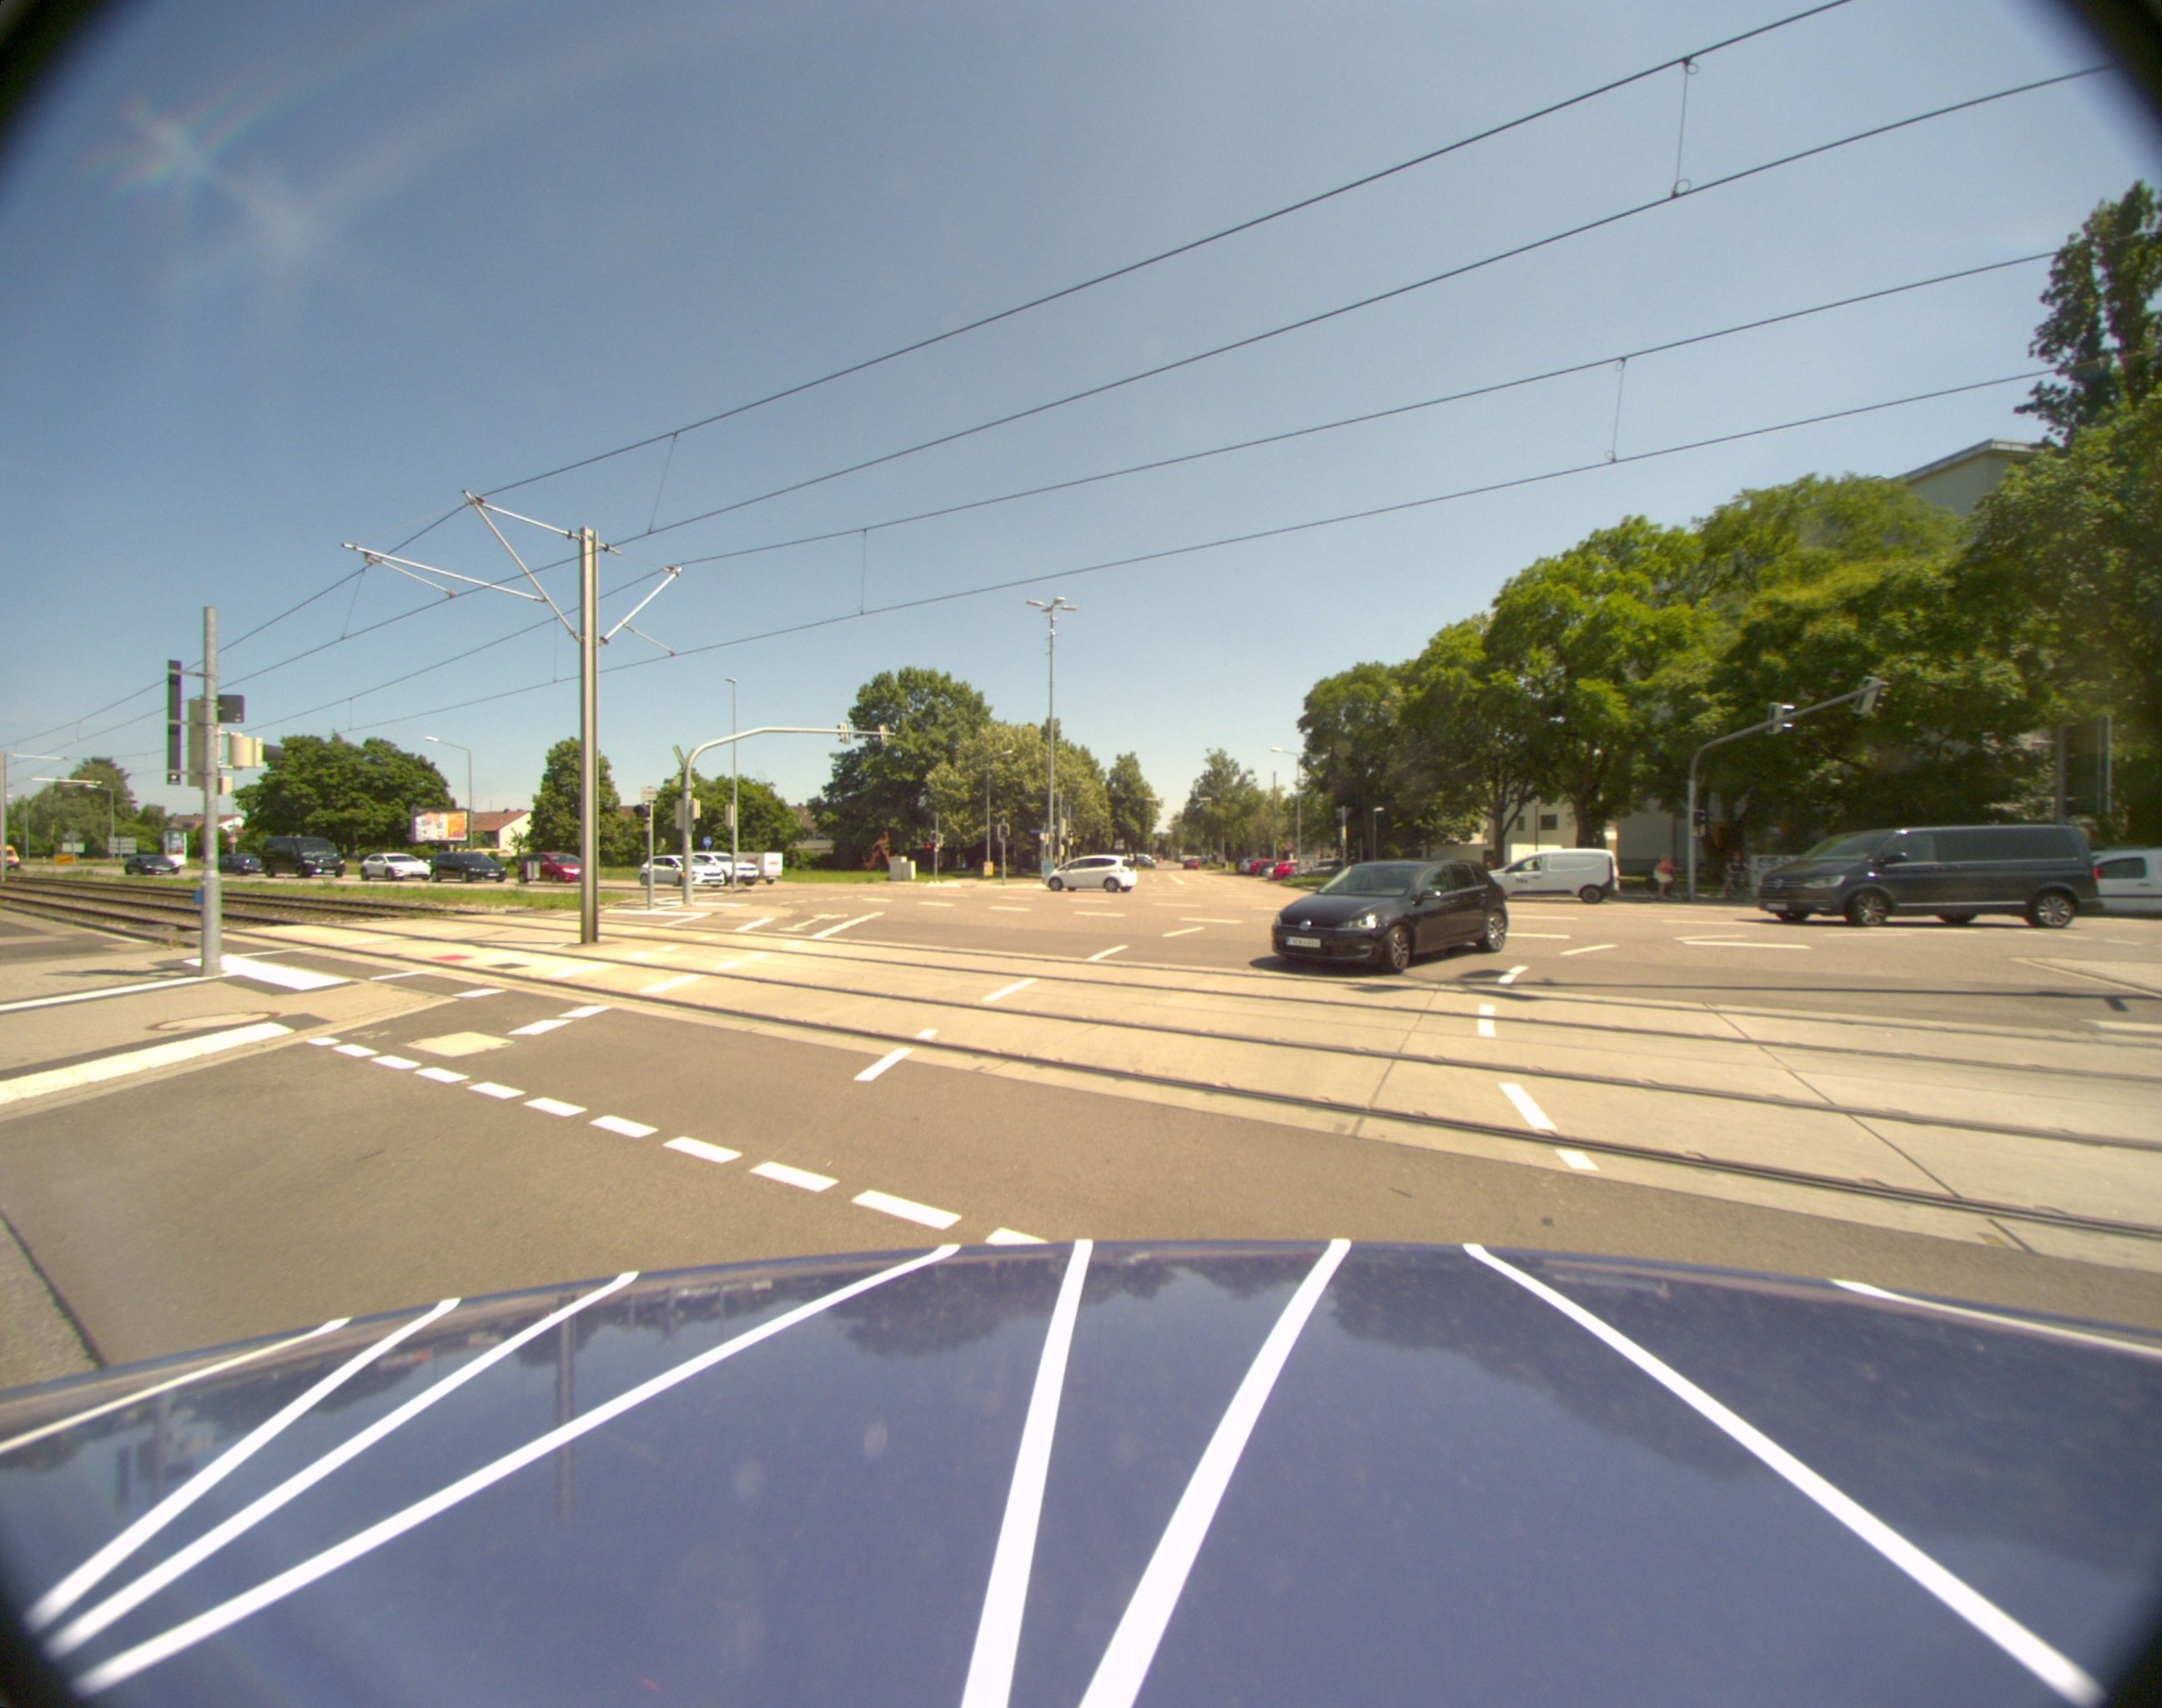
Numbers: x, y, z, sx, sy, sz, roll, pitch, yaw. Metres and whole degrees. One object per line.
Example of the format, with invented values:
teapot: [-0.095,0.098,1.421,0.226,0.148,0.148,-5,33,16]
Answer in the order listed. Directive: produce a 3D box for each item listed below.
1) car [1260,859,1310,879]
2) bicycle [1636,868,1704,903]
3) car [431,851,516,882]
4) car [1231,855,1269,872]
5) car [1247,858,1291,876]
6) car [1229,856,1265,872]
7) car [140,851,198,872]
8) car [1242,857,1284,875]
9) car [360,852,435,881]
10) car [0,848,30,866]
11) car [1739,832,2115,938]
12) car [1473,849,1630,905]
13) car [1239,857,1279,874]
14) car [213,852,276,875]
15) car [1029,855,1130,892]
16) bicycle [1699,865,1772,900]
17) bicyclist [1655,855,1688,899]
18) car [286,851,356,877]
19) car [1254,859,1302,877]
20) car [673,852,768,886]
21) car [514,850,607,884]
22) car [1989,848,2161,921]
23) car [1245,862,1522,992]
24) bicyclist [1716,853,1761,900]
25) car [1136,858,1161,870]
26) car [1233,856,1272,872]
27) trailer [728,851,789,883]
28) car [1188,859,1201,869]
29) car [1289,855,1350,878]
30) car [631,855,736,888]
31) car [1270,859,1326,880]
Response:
car: [15.632,1.173,58.341,3.488,1.419,1.585,-1,-2,4]
bicycle: [20.355,1.083,26.302,0.617,1.057,1.802,-1,3,-18]
car: [-32.399,0.667,40.492,4.400,1.566,1.879,0,-1,27]
car: [17.193,0.972,77.343,3.488,1.570,1.585,-1,-2,4]
car: [16.540,1.157,66.900,3.488,1.419,1.585,-1,-2,4]
car: [17.347,1.052,79.464,3.488,1.570,1.585,-1,-2,4]
car: [-69.026,0.563,57.472,4.400,1.566,1.879,0,-1,27]
car: [16.645,1.080,69.677,3.488,1.545,1.585,-1,-2,4]
car: [-38.973,0.713,43.302,4.400,1.566,1.734,0,-1,27]
car: [-102.895,0.311,72.806,4.400,1.675,1.879,0,-1,27]
car: [16.371,0.558,14.996,4.839,1.920,1.944,0,1,8]
car: [15.676,0.733,25.439,4.331,1.707,1.815,0,-1,34]
car: [16.861,1.075,72.076,3.488,1.545,1.585,-1,-2,4]
car: [-58.367,0.661,53.022,4.400,1.566,1.879,0,-1,27]
car: [-0.051,0.800,32.182,3.888,1.496,1.735,0,-1,23]
bicycle: [22.308,0.951,25.950,0.617,1.057,1.802,-1,3,-18]
bicyclist: [20.376,0.787,26.226,0.617,1.460,0.628,-1,3,-18]
car: [-48.365,0.640,48.353,4.400,1.566,1.879,0,-1,27]
car: [15.703,1.122,60.719,3.488,1.419,1.585,-1,-2,4]
car: [-17.540,0.695,36.974,4.400,1.566,1.879,0,-1,27]
car: [-25.679,0.632,37.463,4.400,1.566,1.879,0,-1,27]
car: [26.897,0.786,19.380,4.381,1.782,1.901,0,-2,26]
car: [4.441,0.893,10.945,4.060,1.396,1.705,-2,2,-34]
bicyclist: [22.341,0.750,25.841,0.648,1.536,0.907,-1,3,-18]
car: [9.292,1.376,104.649,3.488,1.467,1.585,-1,-2,4]
car: [16.718,0.986,74.212,3.488,1.545,1.585,-1,-2,4]
trailer: [-17.303,0.703,40.775,2.930,1.644,1.411,0,-1,26]
car: [15.102,1.283,101.010,1.582,1.219,3.495,-1,-2,7]
car: [15.657,0.810,49.926,3.489,1.419,1.585,-1,-2,1]
car: [-17.488,0.755,33.402,4.400,1.380,1.879,0,-1,27]
car: [15.225,1.114,53.436,3.488,1.419,1.585,-1,-2,4]
